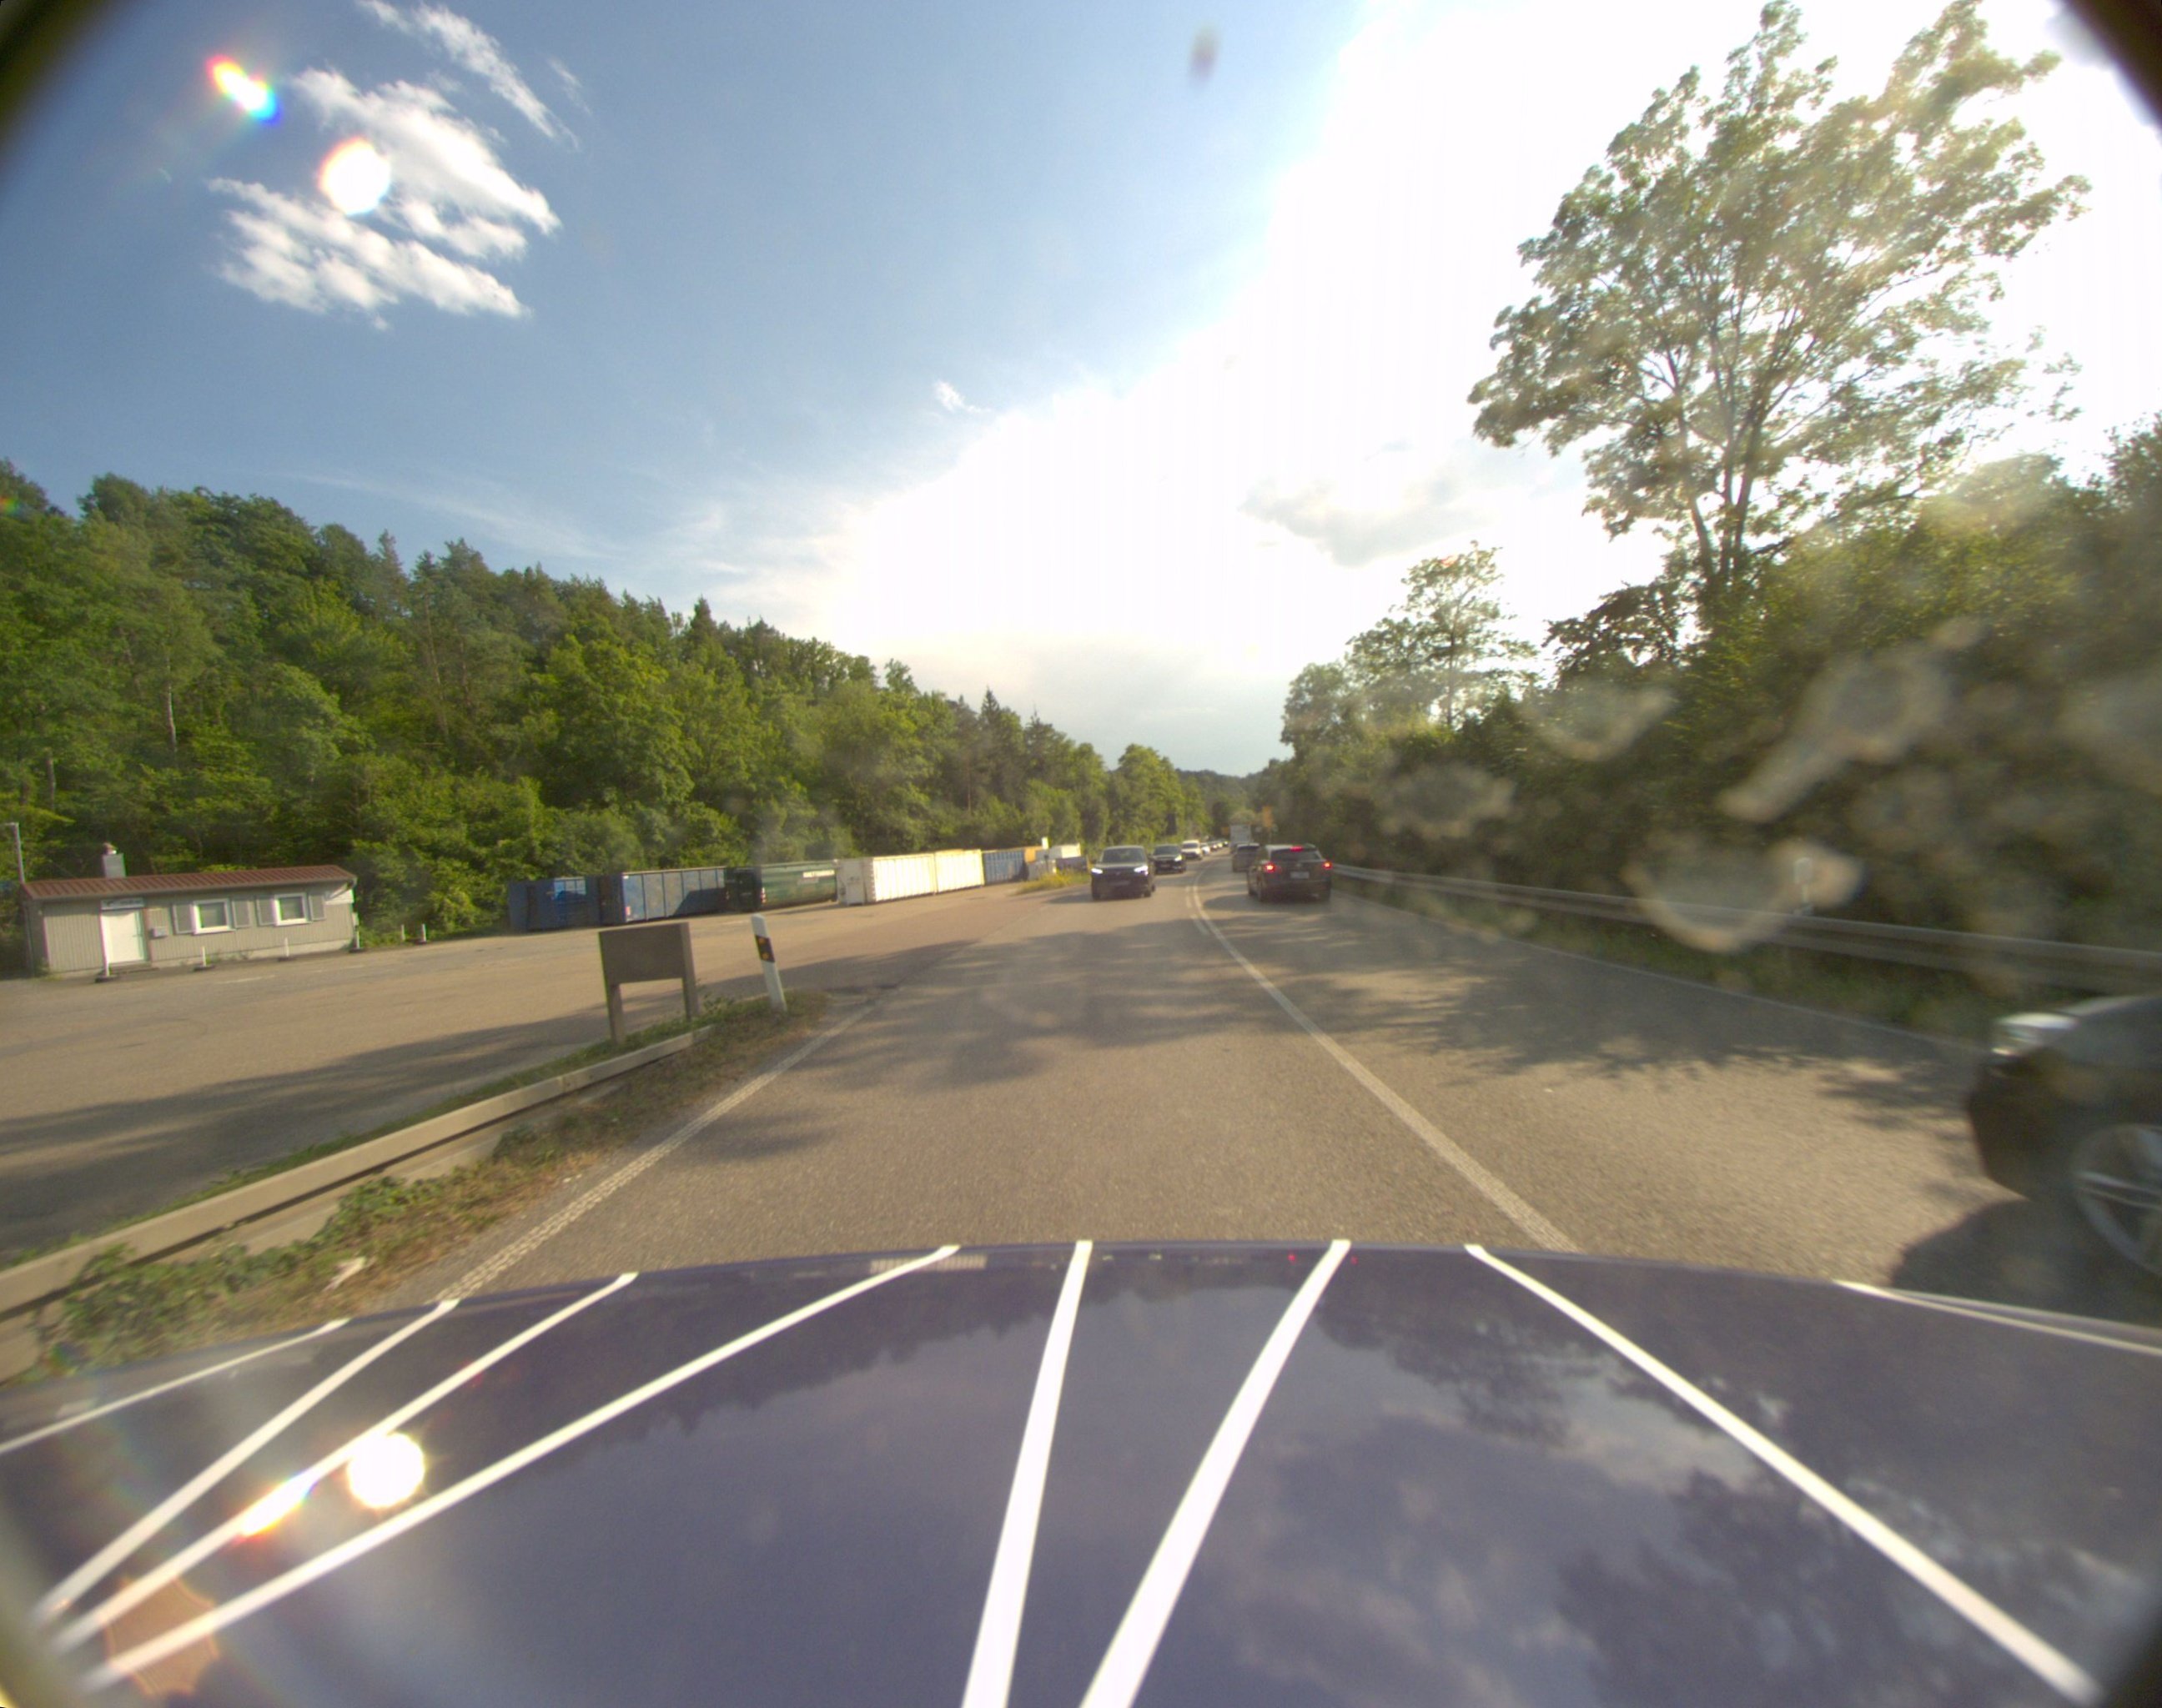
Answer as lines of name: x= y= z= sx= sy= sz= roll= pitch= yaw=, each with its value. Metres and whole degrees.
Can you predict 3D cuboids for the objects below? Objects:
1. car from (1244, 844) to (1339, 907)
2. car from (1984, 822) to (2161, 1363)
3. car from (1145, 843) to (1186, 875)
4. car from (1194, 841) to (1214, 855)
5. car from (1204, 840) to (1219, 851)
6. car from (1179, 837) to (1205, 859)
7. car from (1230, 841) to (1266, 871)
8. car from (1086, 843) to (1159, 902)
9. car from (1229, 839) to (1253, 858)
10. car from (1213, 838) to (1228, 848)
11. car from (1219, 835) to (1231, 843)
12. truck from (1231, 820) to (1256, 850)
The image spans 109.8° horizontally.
car: x=5.589 y=0.502 z=20.717 sx=1.854 sy=1.499 sz=4.405 roll=-2 pitch=0 yaw=7
car: x=4.123 y=0.682 z=0.533 sx=1.872 sy=1.580 sz=4.247 roll=-2 pitch=0 yaw=-2
car: x=4.729 y=0.254 z=42.054 sx=1.847 sy=1.561 sz=4.260 roll=-3 pitch=1 yaw=11
car: x=14.294 y=-0.701 z=88.258 sx=1.895 sy=1.437 sz=4.479 roll=-5 pitch=1 yaw=12
car: x=19.470 y=-1.244 z=113.160 sx=1.858 sy=1.412 sz=4.422 roll=-4 pitch=1 yaw=13
car: x=9.774 y=-0.545 z=66.557 sx=1.866 sy=1.710 sz=4.766 roll=-4 pitch=1 yaw=12
car: x=8.767 y=0.066 z=39.934 sx=1.663 sy=1.437 sz=3.924 roll=-3 pitch=1 yaw=12
car: x=1.462 y=0.539 z=24.788 sx=1.858 sy=1.631 sz=4.443 roll=-3 pitch=1 yaw=9
car: x=12.868 y=-0.456 z=61.267 sx=1.795 sy=1.437 sz=3.796 roll=-3 pitch=1 yaw=11
car: x=23.615 y=-1.856 z=128.290 sx=1.913 sy=1.457 sz=4.541 roll=-5 pitch=1 yaw=16
car: x=27.452 y=-2.858 z=144.707 sx=1.895 sy=1.437 sz=4.479 roll=-3 pitch=1 yaw=12
truck: x=17.912 y=-2.069 z=83.563 sx=2.459 sy=3.055 sz=6.269 roll=-2 pitch=1 yaw=14
